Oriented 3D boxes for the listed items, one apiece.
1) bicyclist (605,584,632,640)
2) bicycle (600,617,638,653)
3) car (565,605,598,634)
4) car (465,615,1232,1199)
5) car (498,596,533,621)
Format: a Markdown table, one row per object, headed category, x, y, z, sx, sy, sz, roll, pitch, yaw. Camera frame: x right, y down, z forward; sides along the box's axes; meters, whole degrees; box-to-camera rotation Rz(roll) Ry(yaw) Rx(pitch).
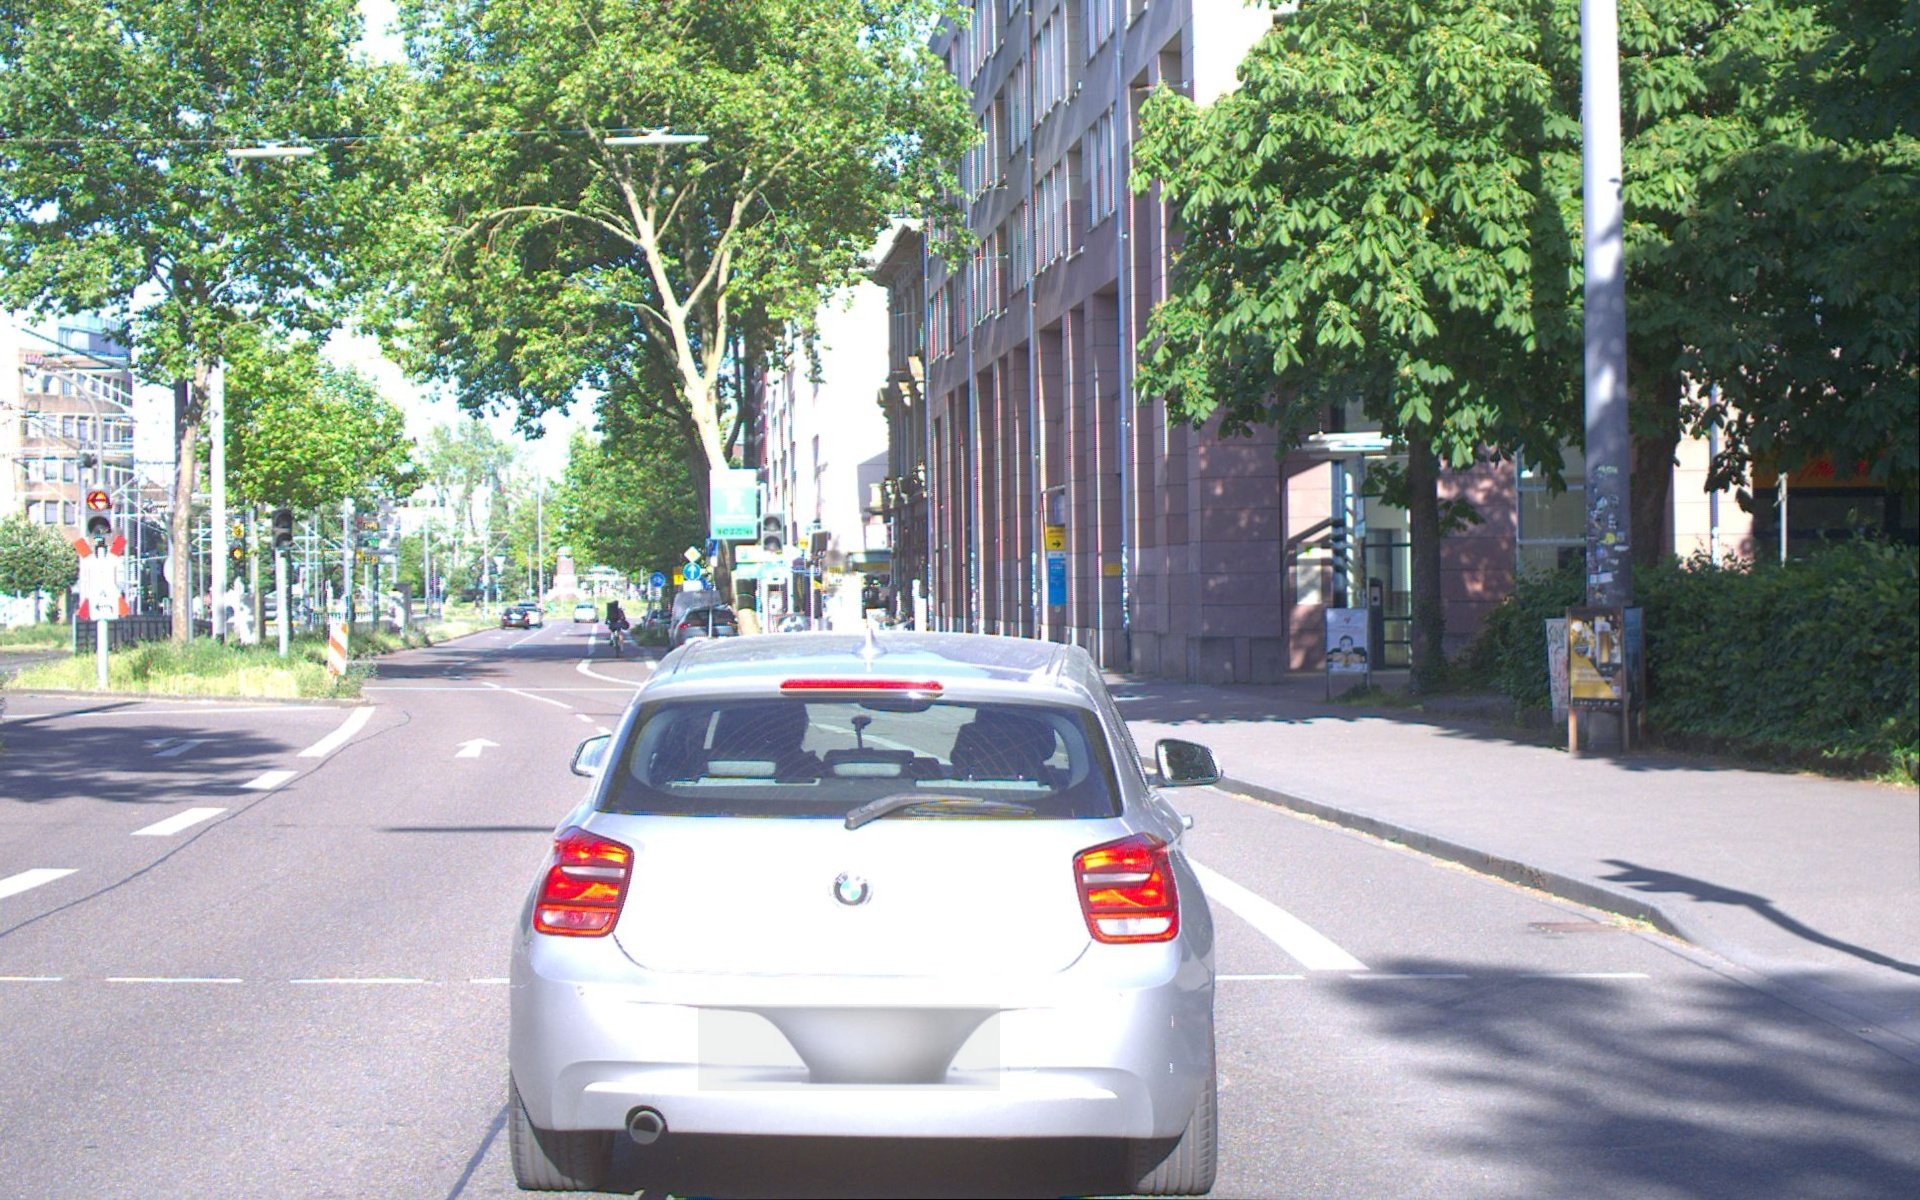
| category | x | y | z | sx | sy | sz | roll | pitch | yaw |
| --- | --- | --- | --- | --- | --- | --- | --- | --- | --- |
| bicyclist | -10.291 | 0.364 | 103.639 | 0.658 | 1.652 | 0.765 | -1 | 0 | 4 |
| bicycle | -10.277 | 1.044 | 103.716 | 0.831 | 1.038 | 1.874 | -1 | 0 | 4 |
| car | -27.648 | 1.450 | 251.133 | 1.993 | 2.007 | 4.000 | 1 | -1 | -1 |
| car | -0.191 | 0.786 | 9.732 | 1.730 | 1.386 | 3.839 | 1 | 1 | 2 |
| car | -27.734 | 0.519 | 214.564 | 1.993 | 1.481 | 4.001 | -1 | 0 | -10 |
